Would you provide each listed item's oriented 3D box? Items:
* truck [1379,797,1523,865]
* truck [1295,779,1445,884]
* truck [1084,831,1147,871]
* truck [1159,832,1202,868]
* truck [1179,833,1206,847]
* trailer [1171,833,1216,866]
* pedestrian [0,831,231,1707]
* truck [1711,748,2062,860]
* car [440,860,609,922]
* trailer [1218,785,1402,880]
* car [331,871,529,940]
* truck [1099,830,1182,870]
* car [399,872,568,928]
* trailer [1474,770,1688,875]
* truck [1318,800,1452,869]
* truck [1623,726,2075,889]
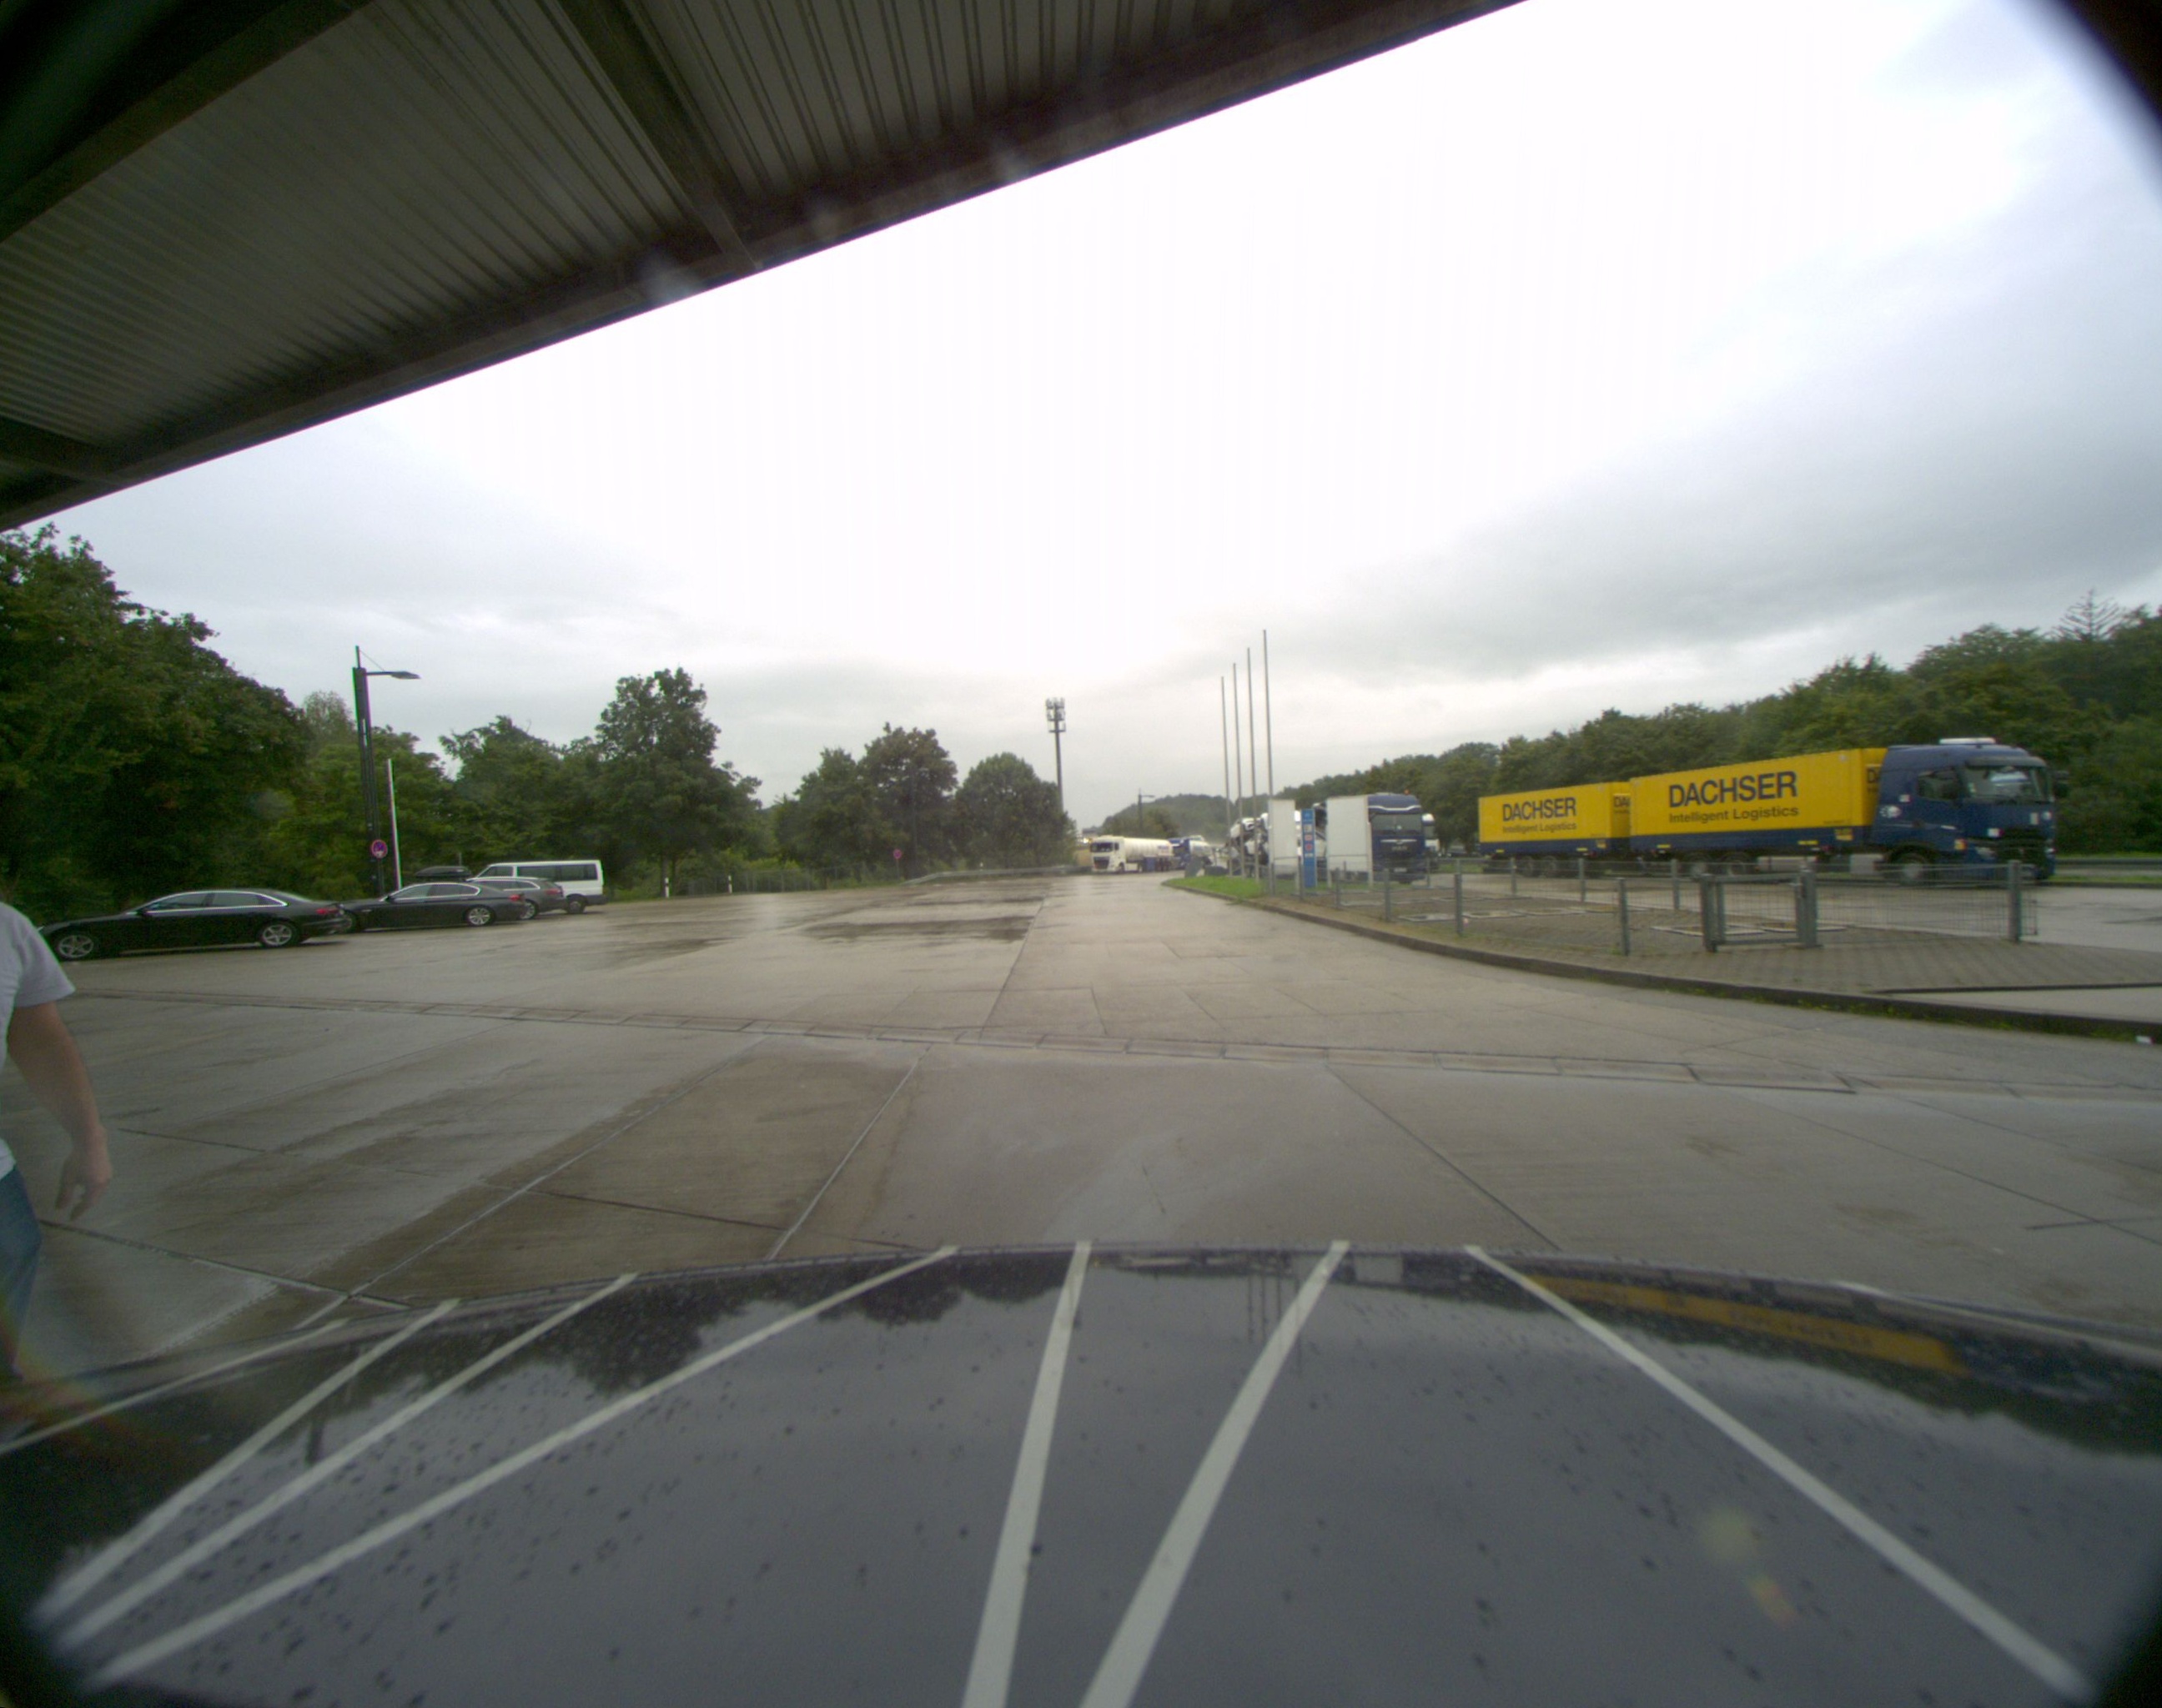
[{"bbox_3d":[24.360,-1.396,50.949,2.991,4.009,10.464,-2,1,-10],"label":"truck"},{"bbox_3d":[12.301,-0.917,33.240,2.990,4.009,7.259,-2,1,-7],"label":"truck"},{"bbox_3d":[3.315,-0.350,71.431,3.243,3.544,6.114,-2,1,31],"label":"truck"},{"bbox_3d":[11.327,-0.518,85.727,3.045,3.745,6.475,-2,1,23],"label":"truck"},{"bbox_3d":[30.123,-3.759,205.811,3.251,3.543,14.657,-2,0,-7],"label":"truck"},{"bbox_3d":[13.668,-0.645,91.434,2.898,3.618,10.586,-2,1,22],"label":"trailer"},{"bbox_3d":[-2.361,0.866,1.505,0.493,1.800,0.634,-2,2,10],"label":"pedestrian"},{"bbox_3d":[33.770,-1.869,32.924,2.991,4.009,10.464,-2,1,-10],"label":"truck"},{"bbox_3d":[-20.266,1.284,27.906,4.780,1.974,2.010,-2,0,-36],"label":"car"},{"bbox_3d":[11.372,-0.994,40.932,2.990,4.009,16.597,-2,1,-7],"label":"trailer"},{"bbox_3d":[-19.124,1.453,22.635,4.187,1.720,1.995,-2,0,-33],"label":"car"},{"bbox_3d":[6.199,-0.516,76.342,3.243,3.544,11.995,-2,1,31],"label":"truck"},{"bbox_3d":[-19.656,1.456,25.276,4.187,1.547,1.995,-2,0,-33],"label":"car"},{"bbox_3d":[21.782,-1.269,33.984,2.774,4.009,8.853,-2,1,-8],"label":"trailer"},{"bbox_3d":[19.757,-1.213,50.425,2.991,4.009,10.464,-2,1,-10],"label":"truck"},{"bbox_3d":[23.059,-1.208,24.301,2.774,4.009,10.632,-2,1,-8],"label":"truck"}]
